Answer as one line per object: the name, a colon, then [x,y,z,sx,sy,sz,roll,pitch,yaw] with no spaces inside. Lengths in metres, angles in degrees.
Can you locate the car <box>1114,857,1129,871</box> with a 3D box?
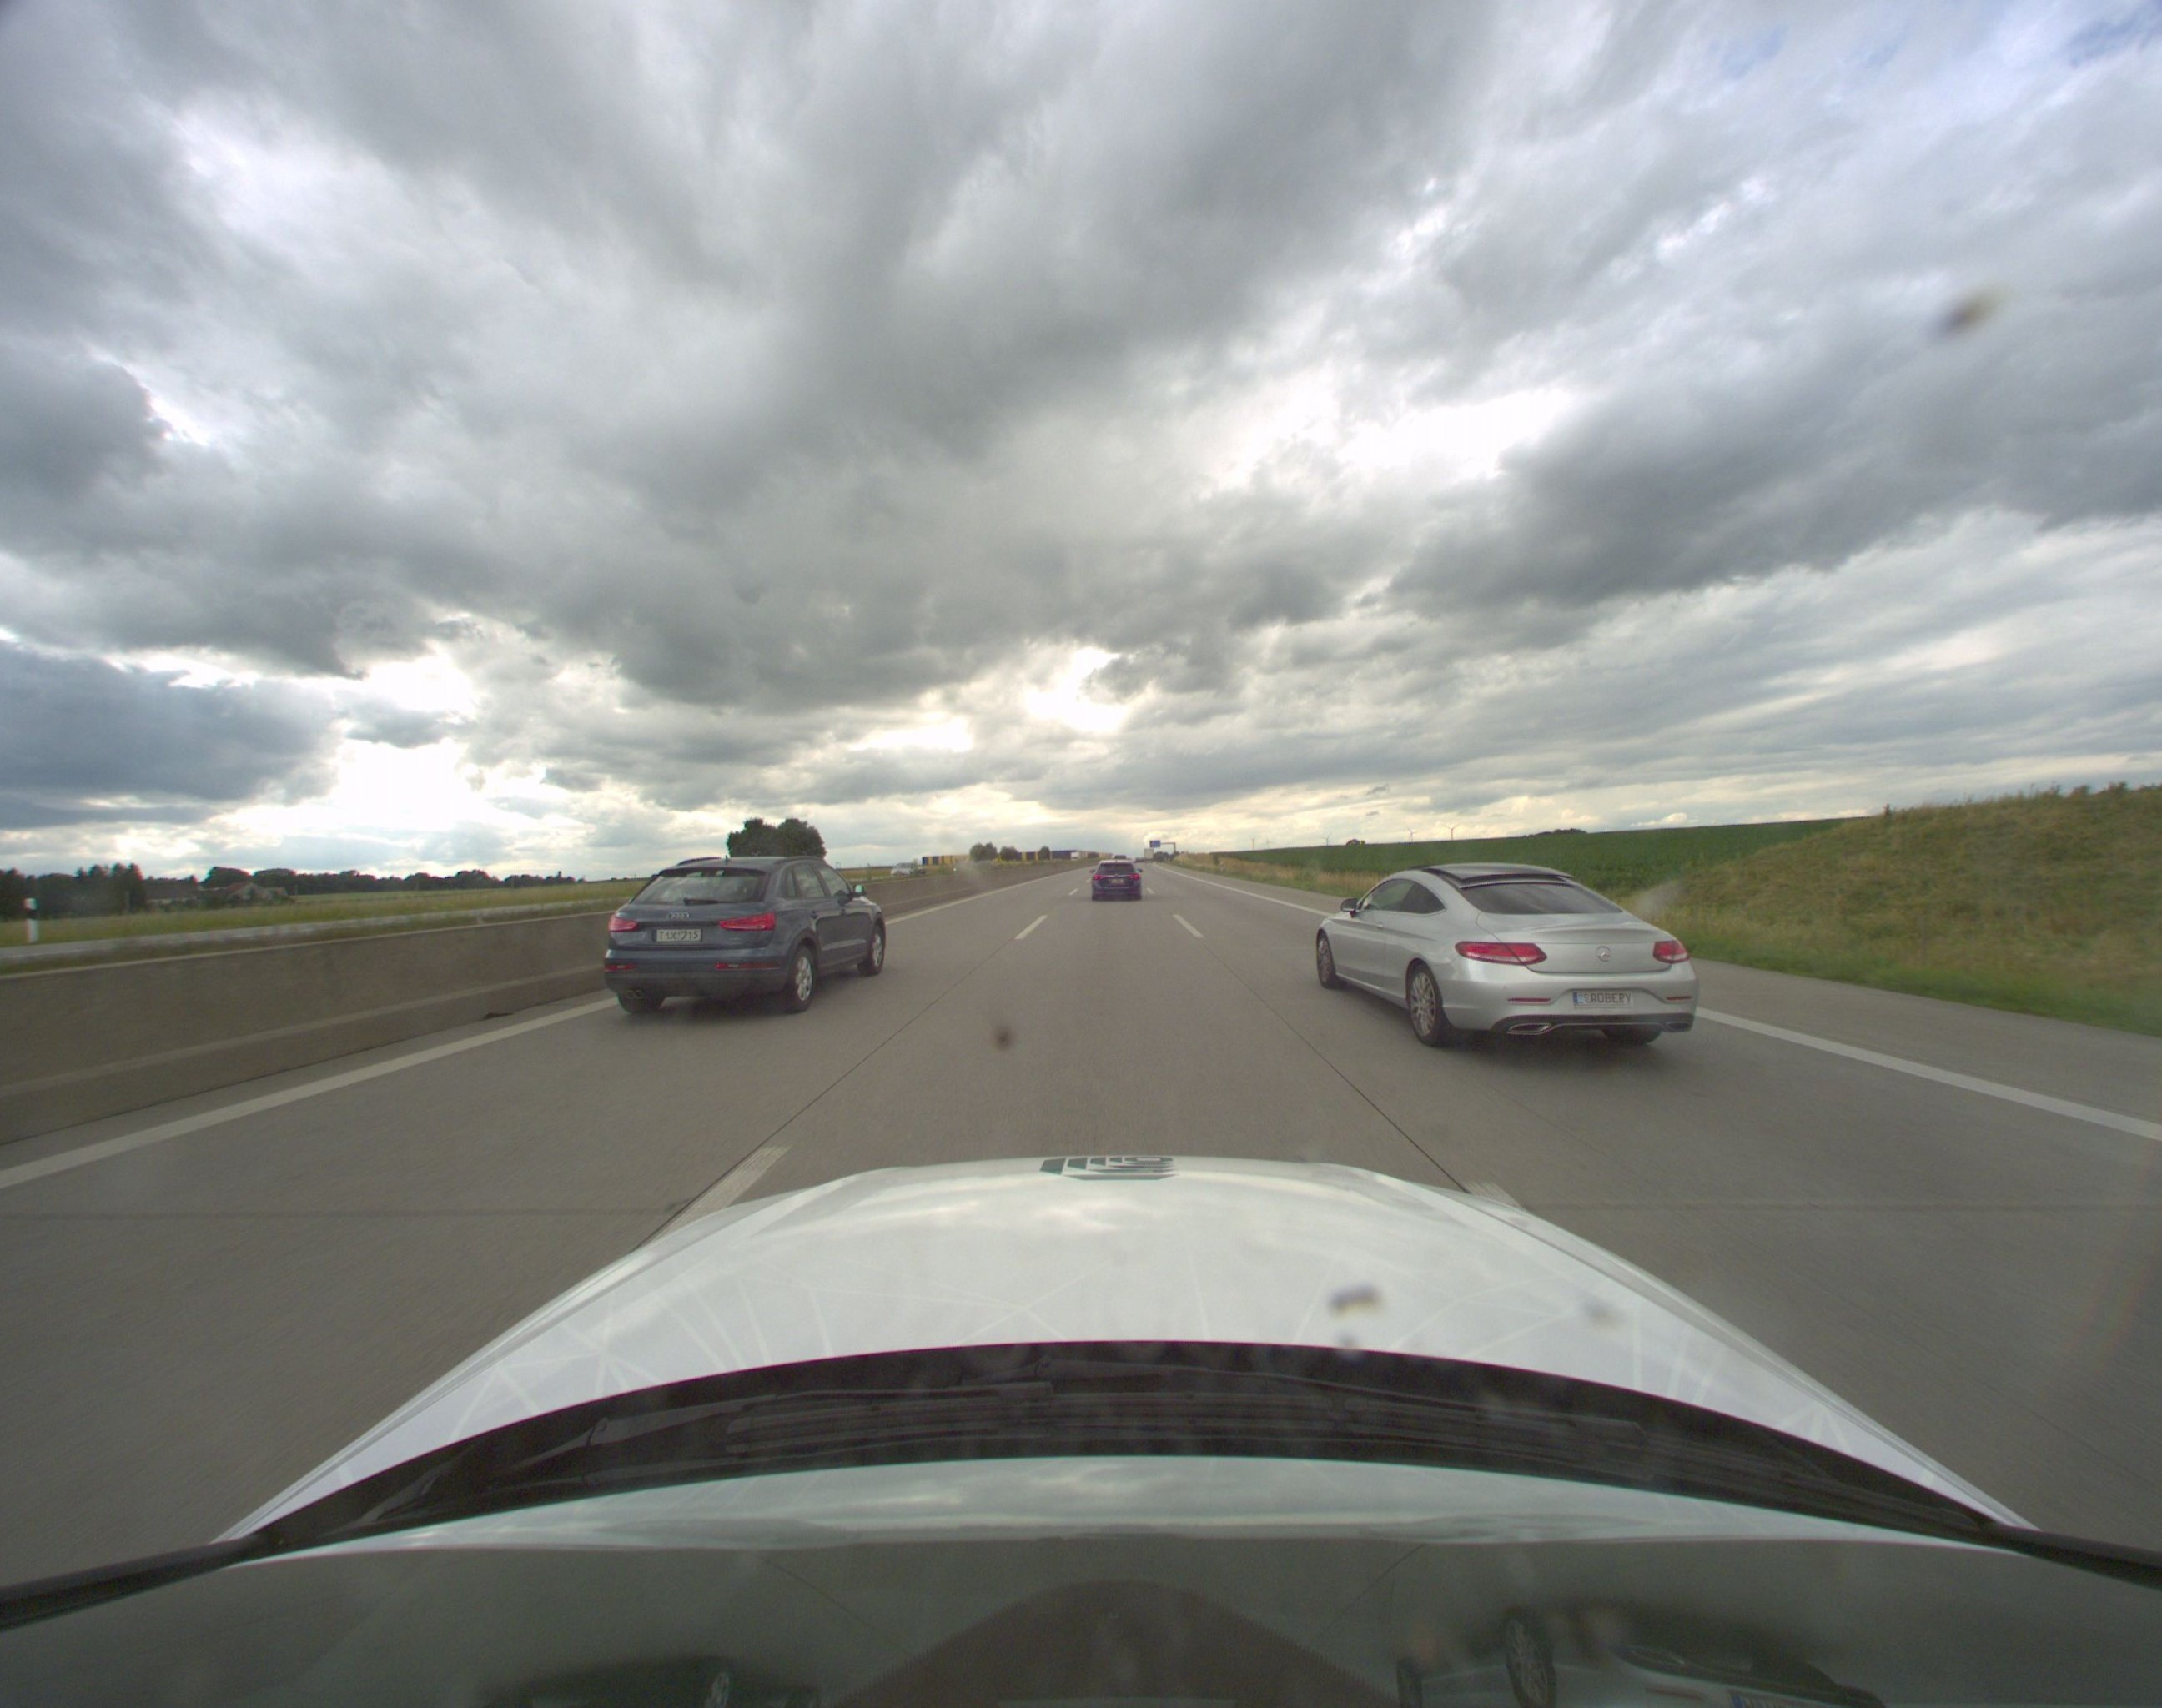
car: [5.947,1.421,119.260,1.988,2.014,3.998,0,-1,-1]

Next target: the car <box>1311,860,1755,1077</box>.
car: [3.567,0.774,7.471,1.782,1.403,4.222,-1,-1,1]

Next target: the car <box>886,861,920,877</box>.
car: [-16.336,1.386,74.879,1.890,1.470,4.852,0,-1,3]

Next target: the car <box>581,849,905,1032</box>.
car: [-3.536,0.772,9.770,1.787,1.596,5.155,0,0,-1]

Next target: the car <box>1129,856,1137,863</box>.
car: [14.782,1.600,230.676,1.986,2.014,4.000,0,-1,1]

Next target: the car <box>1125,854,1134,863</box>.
car: [10.707,1.034,180.925,1.986,2.014,4.002,0,0,2]

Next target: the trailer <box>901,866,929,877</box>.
trailer: [-16.095,1.696,79.052,1.780,0.983,3.565,0,-1,2]

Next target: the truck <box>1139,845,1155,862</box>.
truck: [19.279,0.015,238.984,3.936,4.756,12.076,0,-1,1]

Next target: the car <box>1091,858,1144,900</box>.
car: [1.280,0.884,29.856,1.768,1.413,4.000,-1,-1,1]
